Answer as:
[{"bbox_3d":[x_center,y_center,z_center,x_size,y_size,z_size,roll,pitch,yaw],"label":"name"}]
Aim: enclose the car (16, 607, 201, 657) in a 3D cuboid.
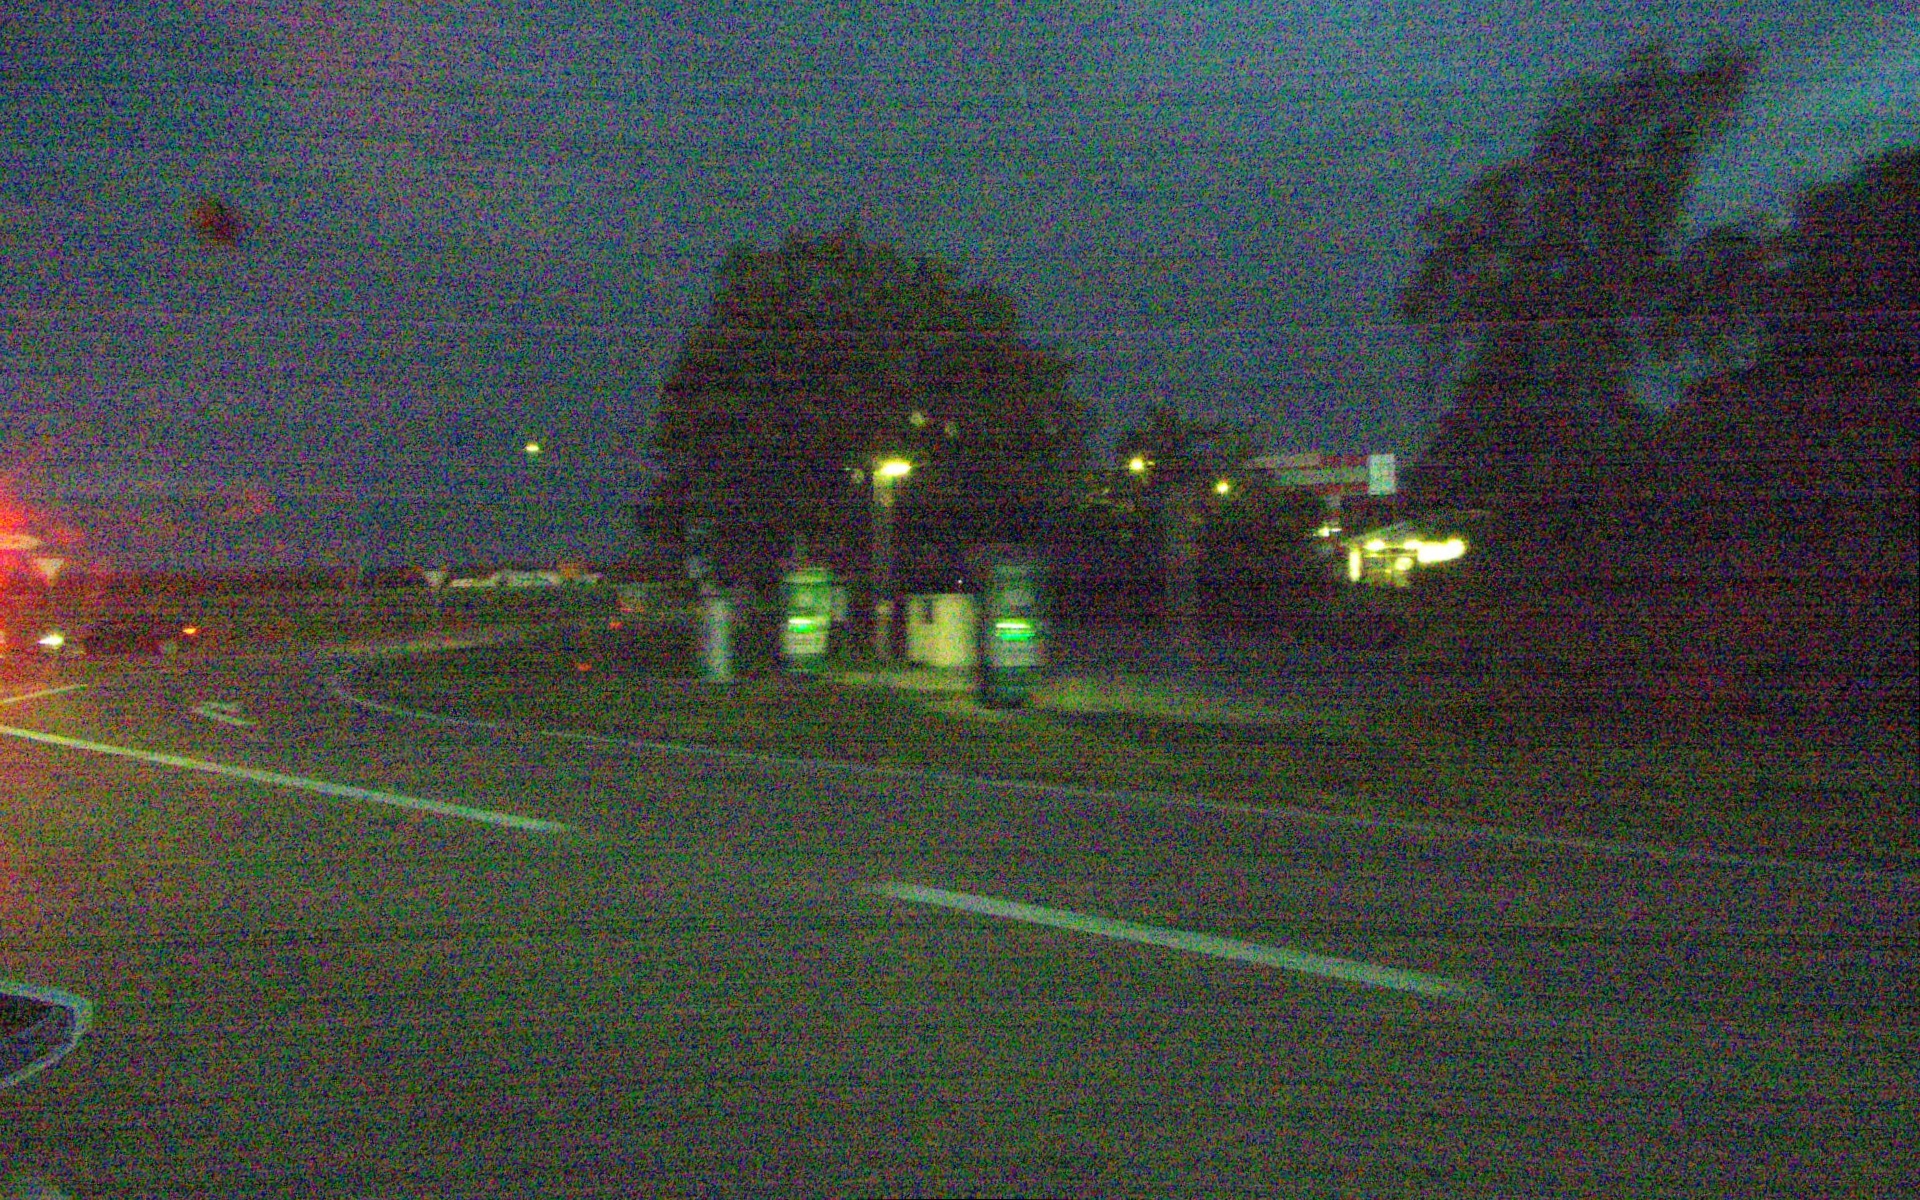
[{"bbox_3d":[-30.064,1.075,35.507,1.971,1.541,4.590,0,1,32],"label":"car"}]
